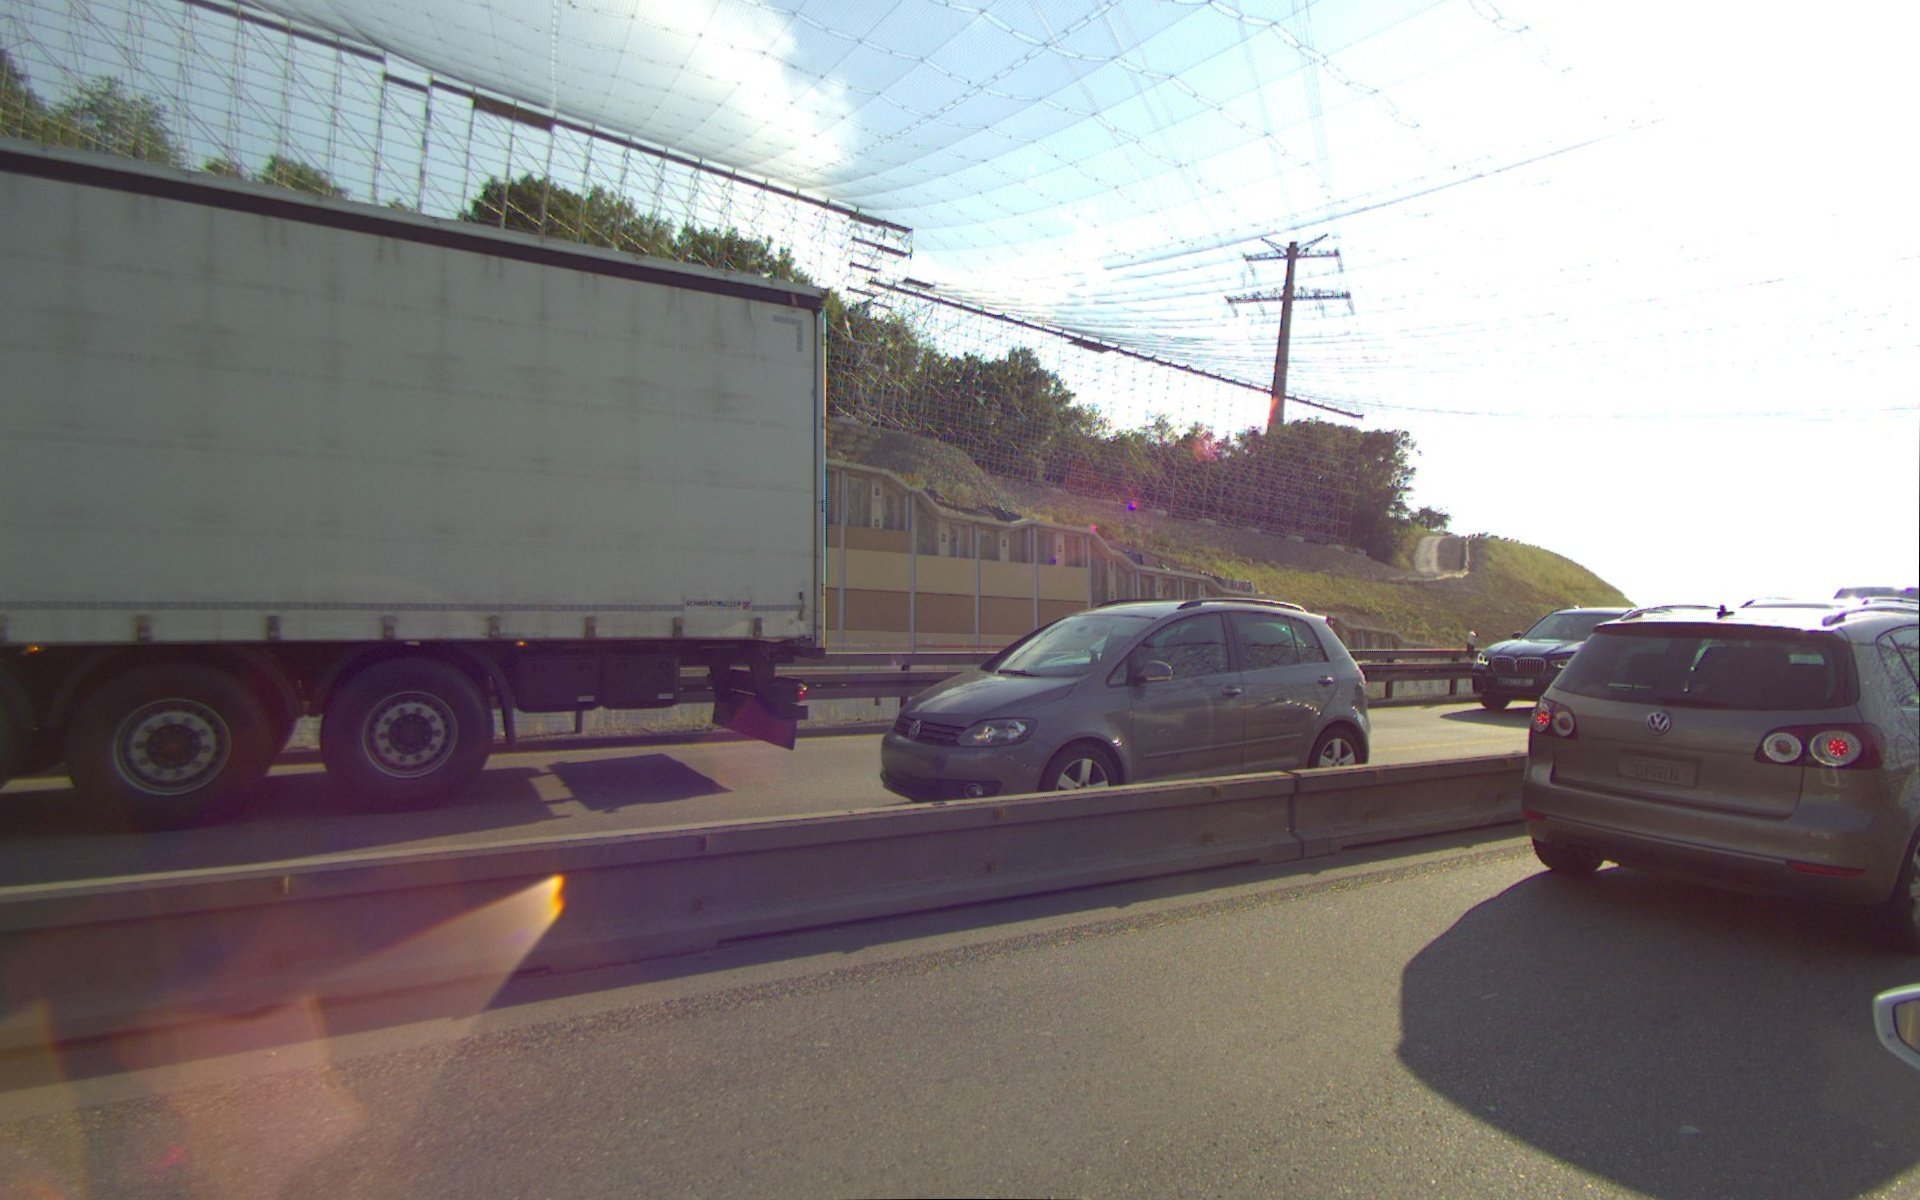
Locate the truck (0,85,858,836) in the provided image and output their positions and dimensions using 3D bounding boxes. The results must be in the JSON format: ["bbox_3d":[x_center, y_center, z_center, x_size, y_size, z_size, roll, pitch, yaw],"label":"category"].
[{"bbox_3d":[-7.583,-0.845,6.040,14.006,4.283,2.707,2,0,-31],"label":"truck"}]

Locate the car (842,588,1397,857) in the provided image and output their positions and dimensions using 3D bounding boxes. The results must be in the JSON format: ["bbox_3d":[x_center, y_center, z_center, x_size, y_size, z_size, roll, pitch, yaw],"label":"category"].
[{"bbox_3d":[1.339,0.767,7.676,4.172,1.572,1.573,2,0,-32],"label":"car"}]

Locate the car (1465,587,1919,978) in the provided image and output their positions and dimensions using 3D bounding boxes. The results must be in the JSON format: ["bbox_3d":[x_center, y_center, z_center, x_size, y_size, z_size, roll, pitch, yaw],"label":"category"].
[{"bbox_3d":[4.964,0.800,5.878,3.953,1.617,1.684,2,0,-30],"label":"car"}]

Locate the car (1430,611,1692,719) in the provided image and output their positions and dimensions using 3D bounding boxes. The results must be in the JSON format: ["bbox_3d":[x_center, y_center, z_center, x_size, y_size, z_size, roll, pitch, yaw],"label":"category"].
[{"bbox_3d":[10.249,1.043,17.019,4.855,1.560,1.782,2,0,-32],"label":"car"}]

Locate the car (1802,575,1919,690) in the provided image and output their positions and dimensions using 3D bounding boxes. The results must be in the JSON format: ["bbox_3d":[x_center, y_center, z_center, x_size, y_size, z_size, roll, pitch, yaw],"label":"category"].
[{"bbox_3d":[25.242,0.856,26.890,7.008,2.749,2.228,2,0,-34],"label":"car"}]

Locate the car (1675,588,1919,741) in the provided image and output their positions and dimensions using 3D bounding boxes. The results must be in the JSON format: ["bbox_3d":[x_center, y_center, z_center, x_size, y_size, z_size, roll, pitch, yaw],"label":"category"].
[{"bbox_3d":[12.618,0.858,14.577,5.223,1.894,1.798,2,0,-32],"label":"car"}]
